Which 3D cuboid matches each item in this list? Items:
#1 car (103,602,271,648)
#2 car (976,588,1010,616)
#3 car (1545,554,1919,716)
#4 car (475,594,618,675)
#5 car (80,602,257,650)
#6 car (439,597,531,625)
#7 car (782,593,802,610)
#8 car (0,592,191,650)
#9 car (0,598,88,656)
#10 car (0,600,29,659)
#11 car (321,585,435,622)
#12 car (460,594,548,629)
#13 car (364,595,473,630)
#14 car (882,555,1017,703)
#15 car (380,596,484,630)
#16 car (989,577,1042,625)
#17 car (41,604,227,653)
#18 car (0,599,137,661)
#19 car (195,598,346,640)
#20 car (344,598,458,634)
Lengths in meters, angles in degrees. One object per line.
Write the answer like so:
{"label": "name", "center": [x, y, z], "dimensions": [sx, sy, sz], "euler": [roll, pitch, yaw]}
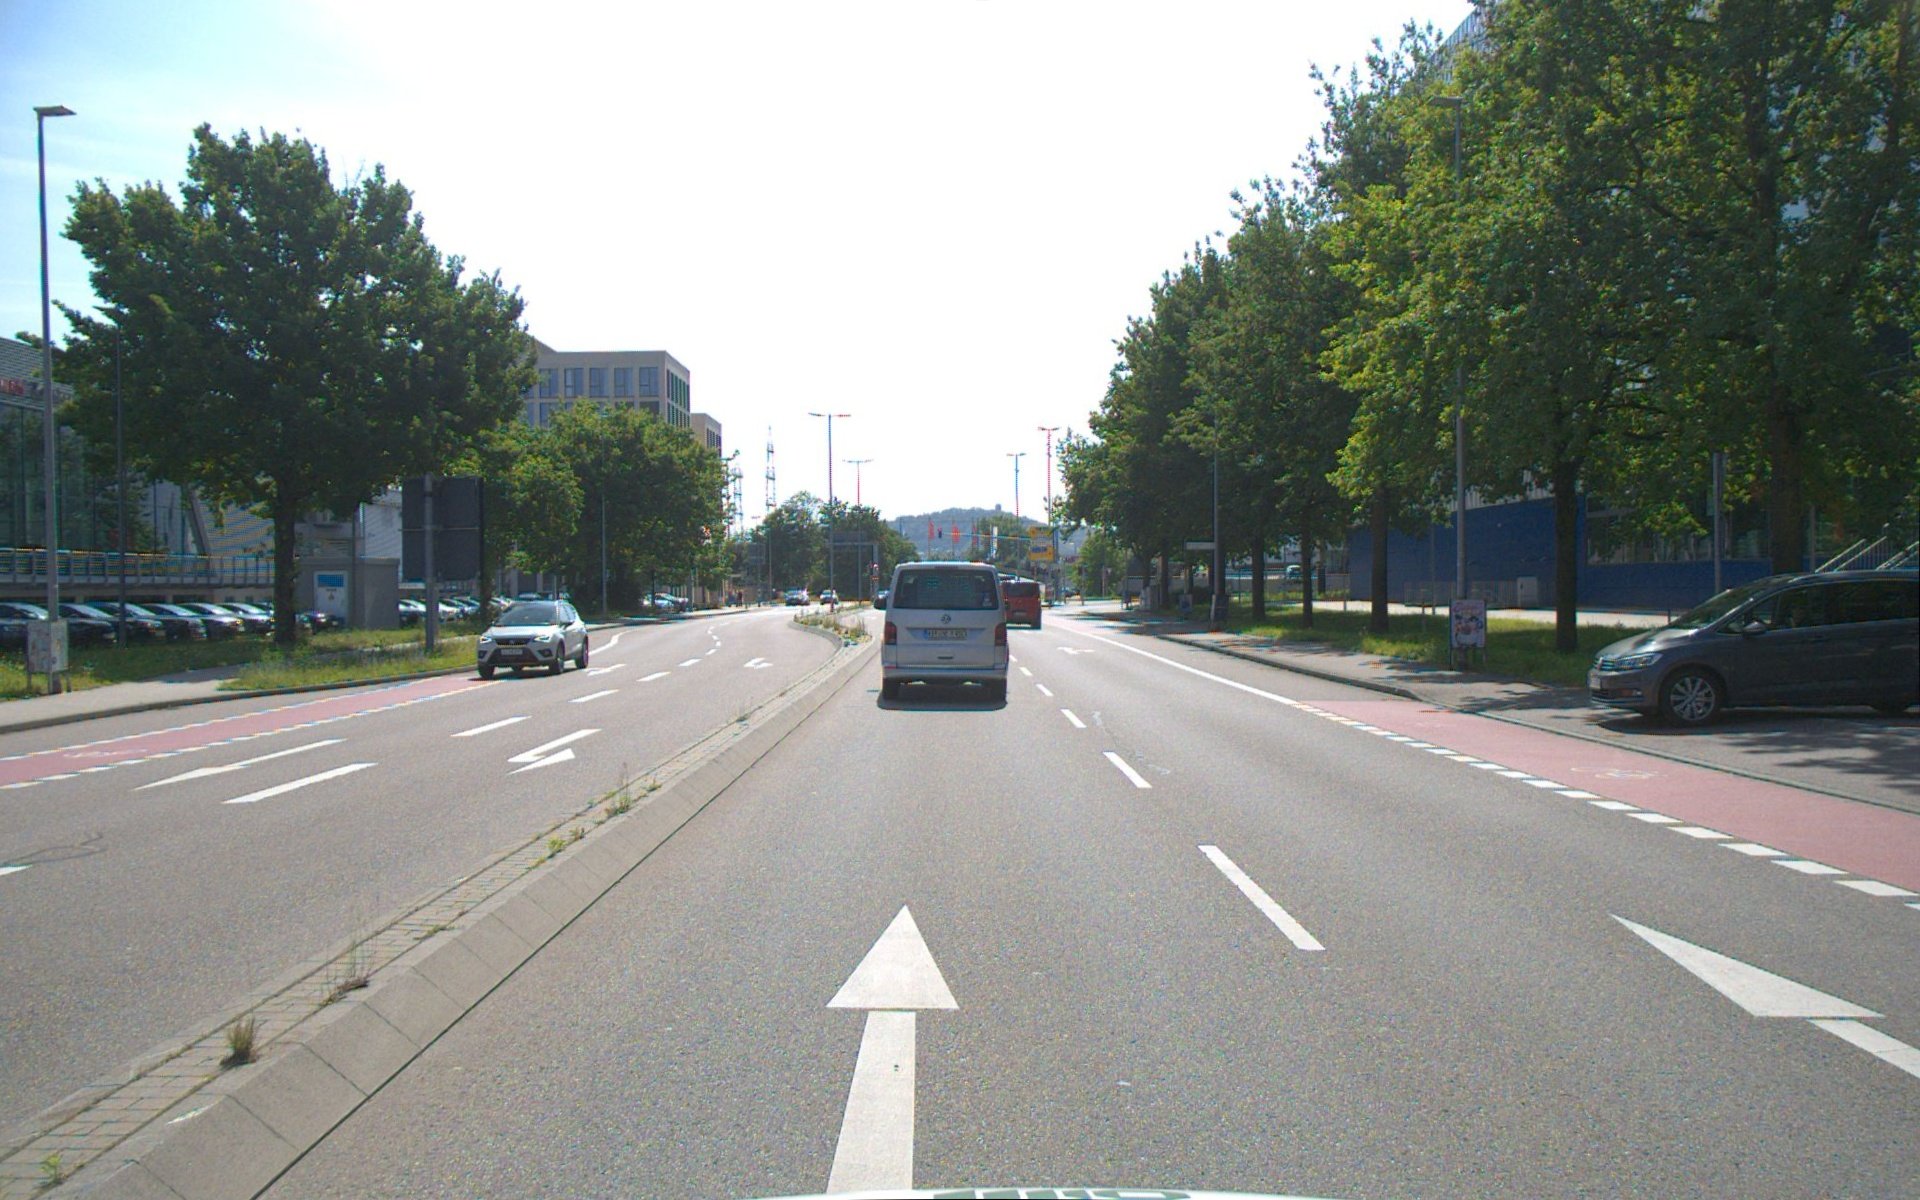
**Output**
{"label": "car", "center": [-24.255, 0.767, 51.998], "dimensions": [4.410, 1.312, 1.691], "euler": [-1, 0, -3]}
{"label": "car", "center": [1.811, 0.101, 91.147], "dimensions": [1.711, 1.484, 4.475], "euler": [1, 0, -1]}
{"label": "car", "center": [9.496, 0.389, 19.789], "dimensions": [4.350, 1.723, 1.846], "euler": [-2, 0, 6]}
{"label": "car", "center": [-9.320, 0.735, 37.617], "dimensions": [1.952, 1.646, 4.106], "euler": [-2, 0, 3]}
{"label": "car", "center": [-23.966, 0.777, 50.231], "dimensions": [4.410, 1.312, 1.918], "euler": [-1, 0, -3]}
{"label": "car", "center": [-23.674, 0.541, 82.535], "dimensions": [4.027, 1.052, 1.696], "euler": [-4, 1, -3]}
{"label": "car", "center": [-17.151, 0.114, 169.090], "dimensions": [1.704, 1.646, 4.207], "euler": [-3, 1, -3]}
{"label": "car", "center": [-23.971, 0.560, 45.828], "dimensions": [4.410, 1.502, 1.918], "euler": [-1, 0, -3]}
{"label": "car", "center": [-23.623, 0.708, 40.319], "dimensions": [3.606, 1.307, 1.984], "euler": [-3, 1, -3]}
{"label": "car", "center": [-23.514, 0.751, 37.647], "dimensions": [3.522, 1.307, 1.864], "euler": [-3, 1, -3]}
{"label": "car", "center": [-23.637, 0.141, 67.305], "dimensions": [3.908, 1.176, 1.896], "euler": [-4, 1, -3]}
{"label": "car", "center": [-23.775, 0.587, 86.333], "dimensions": [3.906, 1.467, 2.000], "euler": [-5, 0, -1]}
{"label": "car", "center": [-23.889, 0.538, 73.063], "dimensions": [4.091, 1.211, 1.954], "euler": [-4, 1, -3]}
{"label": "car", "center": [-0.172, 0.385, 24.854], "dimensions": [1.846, 2.025, 3.999], "euler": [1, 0, -1]}
{"label": "car", "center": [-24.130, 0.591, 75.740], "dimensions": [4.091, 1.211, 1.954], "euler": [-4, 1, -3]}
{"label": "car", "center": [2.333, 0.019, 70.985], "dimensions": [1.928, 2.002, 5.124], "euler": [1, 0, -2]}
{"label": "car", "center": [-24.046, 0.815, 48.253], "dimensions": [4.410, 1.312, 1.918], "euler": [-1, 0, -3]}
{"label": "car", "center": [-23.979, 0.775, 42.696], "dimensions": [4.410, 1.502, 1.979], "euler": [-1, 0, -3]}
{"label": "car", "center": [-23.930, 0.645, 57.507], "dimensions": [4.410, 1.312, 1.918], "euler": [-1, 0, -3]}
{"label": "car", "center": [-23.805, 0.687, 70.564], "dimensions": [4.091, 1.176, 2.086], "euler": [-4, 1, -3]}
